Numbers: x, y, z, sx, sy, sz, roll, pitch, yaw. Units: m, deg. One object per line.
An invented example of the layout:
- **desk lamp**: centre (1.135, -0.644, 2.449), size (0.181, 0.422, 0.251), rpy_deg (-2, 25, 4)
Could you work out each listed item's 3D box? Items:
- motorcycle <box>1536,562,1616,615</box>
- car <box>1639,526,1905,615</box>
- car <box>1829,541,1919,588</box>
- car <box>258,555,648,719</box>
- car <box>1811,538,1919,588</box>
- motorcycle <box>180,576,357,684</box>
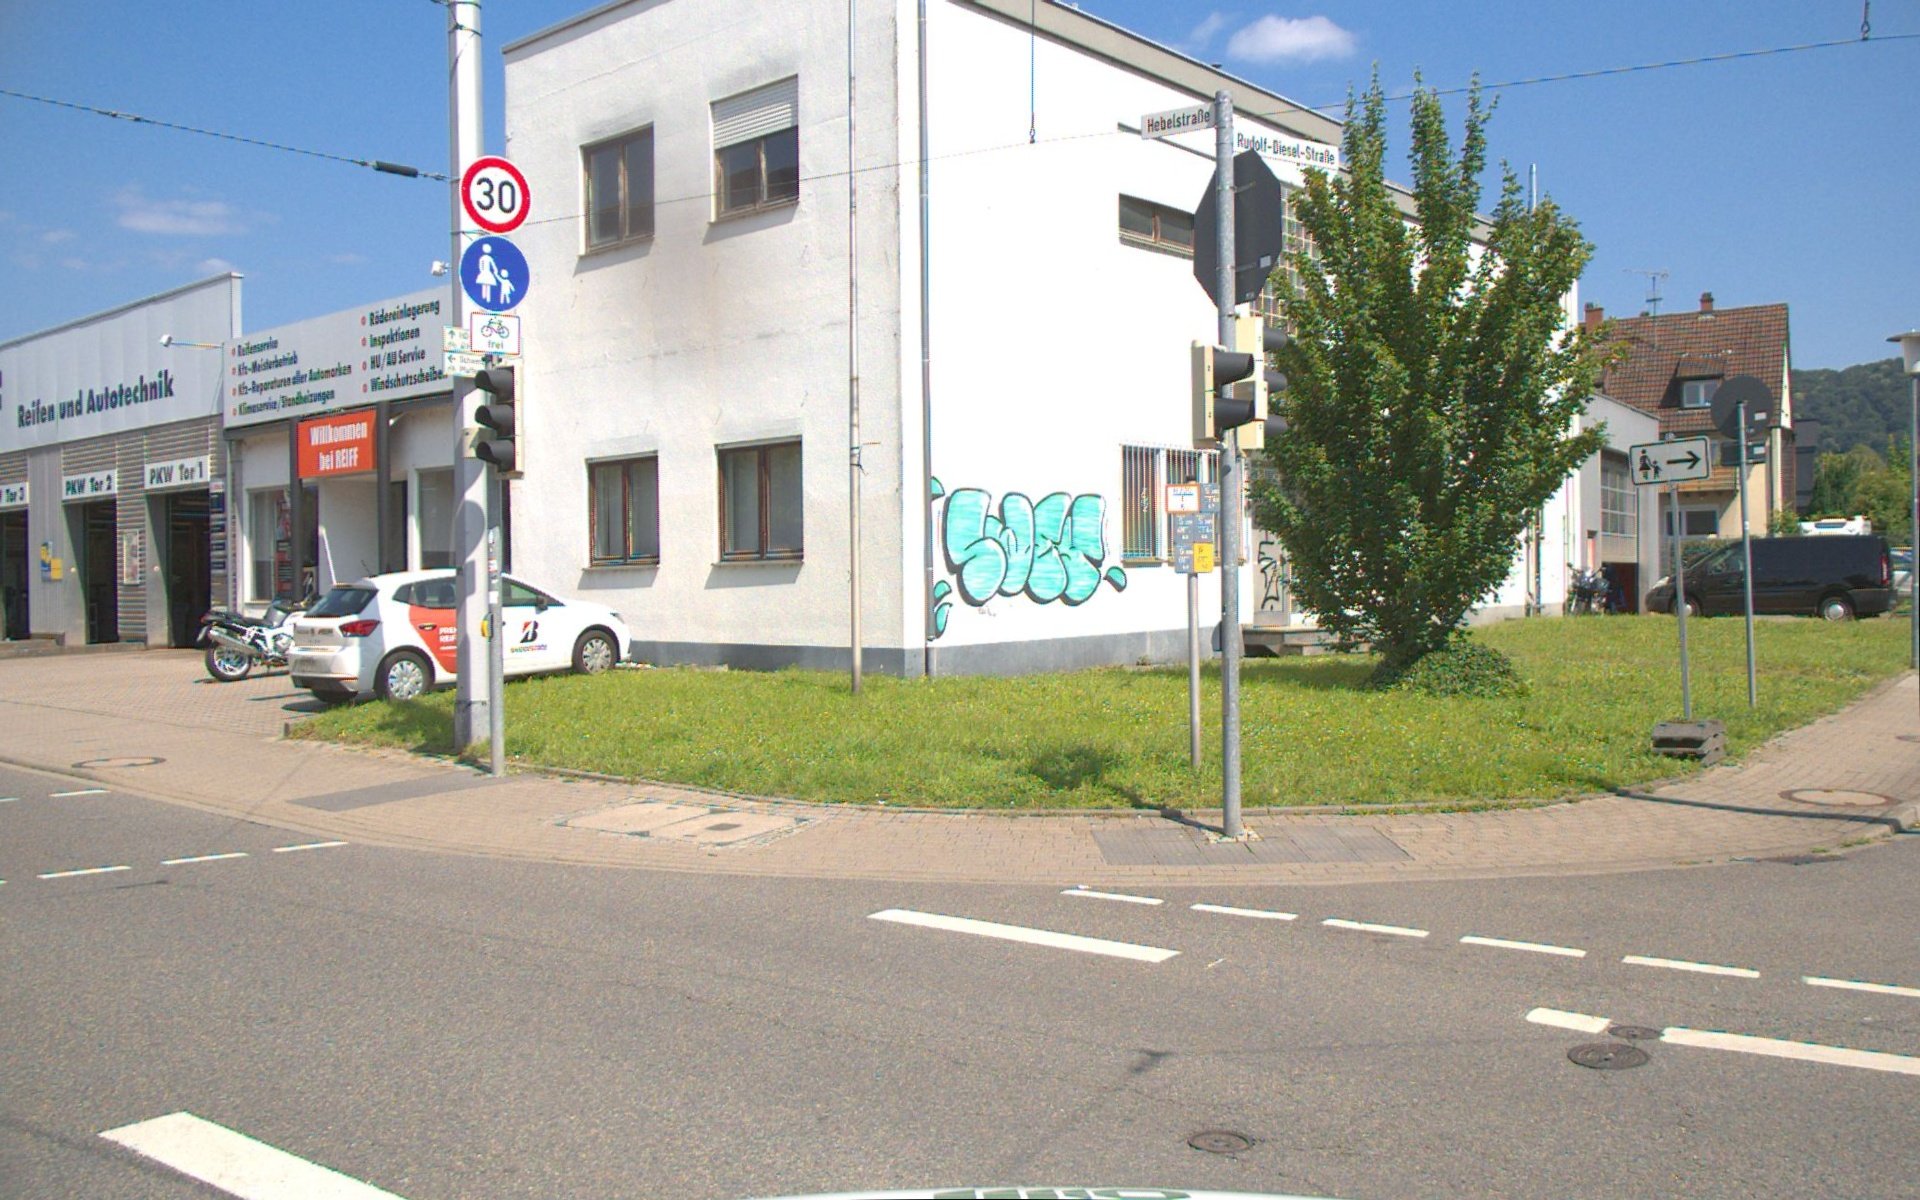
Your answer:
- **motorcycle**: centre (12.976, -0.228, 34.790), size (0.838, 1.050, 2.556), rpy_deg (2, 0, 37)
- **car**: centre (18.251, -0.629, 37.280), size (5.156, 1.848, 1.994), rpy_deg (-1, 0, 34)
- **car**: centre (28.673, -1.069, 50.448), size (3.659, 1.395, 1.598), rpy_deg (2, 1, 36)
- **car**: centre (-5.857, 0.352, 19.481), size (1.855, 1.487, 3.981), rpy_deg (0, 4, 40)
- **car**: centre (27.047, -1.070, 48.352), size (3.659, 1.395, 1.598), rpy_deg (2, 1, 36)
- **motorcycle**: centre (-9.797, 0.401, 23.522), size (0.718, 1.331, 2.179), rpy_deg (-1, 3, 40)
